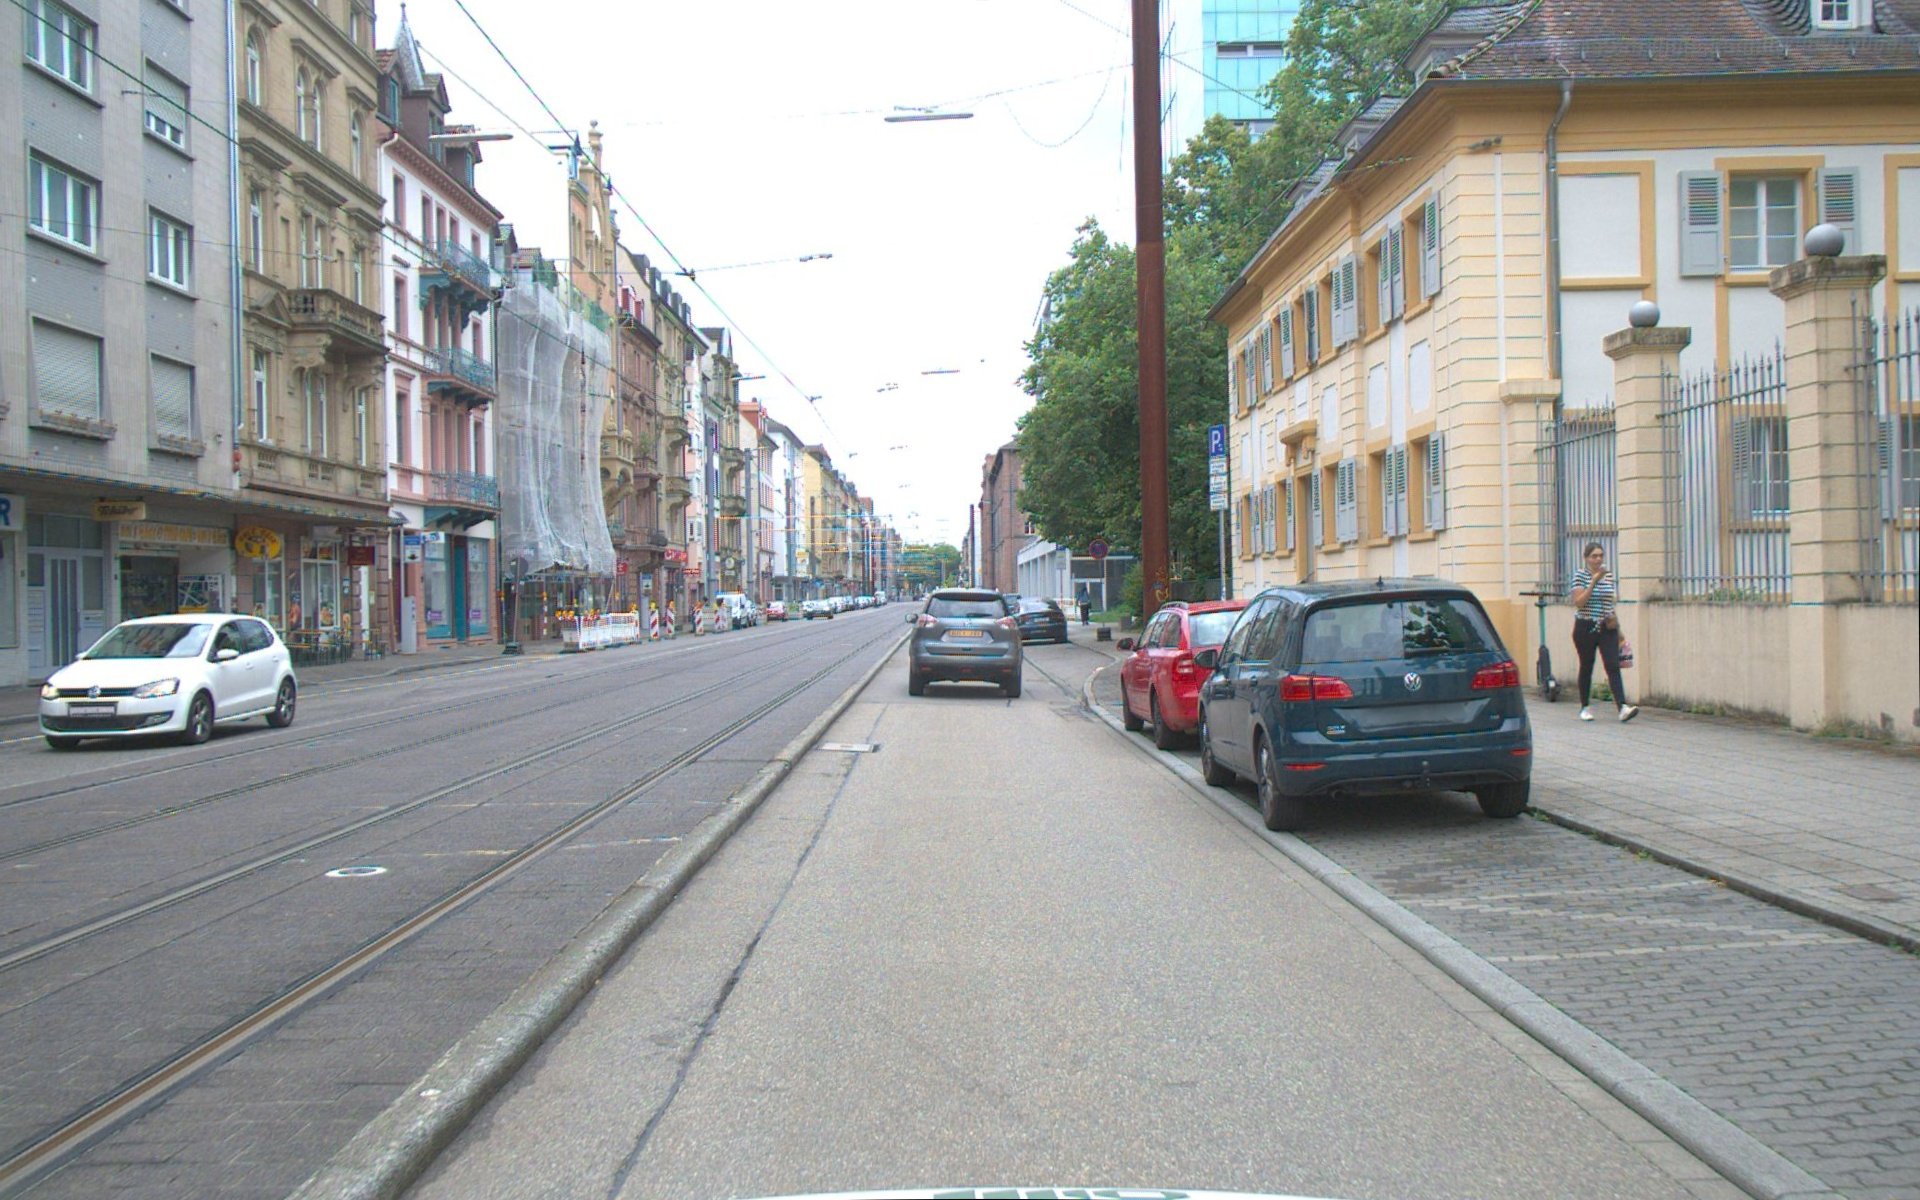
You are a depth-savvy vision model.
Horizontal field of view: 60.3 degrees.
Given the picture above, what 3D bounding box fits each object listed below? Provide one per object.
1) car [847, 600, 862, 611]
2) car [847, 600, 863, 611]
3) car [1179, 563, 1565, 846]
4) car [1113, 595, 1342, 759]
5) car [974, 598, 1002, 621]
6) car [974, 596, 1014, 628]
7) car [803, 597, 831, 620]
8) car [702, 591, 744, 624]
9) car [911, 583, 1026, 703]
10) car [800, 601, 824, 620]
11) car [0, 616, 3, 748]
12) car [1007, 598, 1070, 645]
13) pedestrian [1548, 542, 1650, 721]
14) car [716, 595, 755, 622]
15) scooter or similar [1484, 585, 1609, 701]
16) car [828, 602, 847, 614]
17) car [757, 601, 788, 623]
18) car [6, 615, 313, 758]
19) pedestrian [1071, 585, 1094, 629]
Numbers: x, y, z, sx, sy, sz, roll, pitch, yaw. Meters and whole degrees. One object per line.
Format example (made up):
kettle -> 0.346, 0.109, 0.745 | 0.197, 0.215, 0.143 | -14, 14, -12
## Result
car -> -13.997, 0.749, 219.839 | 1.954, 1.288, 3.997 | -1, -1, -4
car -> -13.695, 0.713, 215.562 | 1.954, 1.288, 3.997 | -1, -1, -4
car -> 2.798, 0.641, 12.140 | 1.714, 1.623, 3.923 | -4, 0, -1
car -> 2.765, 0.738, 17.939 | 1.714, 1.466, 3.923 | -4, 0, -1
car -> 1.833, 0.631, 110.401 | 1.740, 1.445, 4.134 | -1, 0, -1
car -> 1.609, 0.567, 79.254 | 1.740, 1.445, 4.134 | -1, 0, -1
car -> -10.703, 0.671, 123.848 | 1.954, 1.664, 3.997 | -1, -1, -4
car -> -12.983, 0.433, 90.896 | 1.954, 1.736, 3.997 | -1, -1, -4
car -> 0.100, 0.657, 27.209 | 1.714, 1.786, 3.923 | 2, 0, -1
car -> -13.166, 0.964, 147.432 | 1.954, 1.664, 3.997 | -1, -1, -4
car -> -12.045, 0.976, 17.133 | 1.740, 1.531, 4.401 | -1, 0, -1
car -> 2.489, 0.668, 53.402 | 1.740, 1.445, 4.134 | -1, 0, -1
pedestrian -> 6.337, 0.305, 16.431 | 0.629, 1.717, 0.891 | -1, 0, -1
car -> -13.232, 0.510, 97.546 | 1.954, 1.490, 3.997 | -1, -1, -4
scooter or similar -> 6.828, 0.492, 19.354 | 0.731, 1.272, 1.919 | -1, -1, -1
car -> -13.028, 0.857, 176.562 | 1.954, 1.288, 3.997 | -1, -1, -4
car -> -13.220, 0.868, 116.912 | 1.954, 1.490, 3.997 | -1, -1, -4
car -> -9.286, 0.933, 19.591 | 1.653, 1.445, 4.134 | -1, 0, -1
pedestrian -> 5.398, 0.313, 72.860 | 0.892, 1.919, 0.846 | -1, -1, -1
